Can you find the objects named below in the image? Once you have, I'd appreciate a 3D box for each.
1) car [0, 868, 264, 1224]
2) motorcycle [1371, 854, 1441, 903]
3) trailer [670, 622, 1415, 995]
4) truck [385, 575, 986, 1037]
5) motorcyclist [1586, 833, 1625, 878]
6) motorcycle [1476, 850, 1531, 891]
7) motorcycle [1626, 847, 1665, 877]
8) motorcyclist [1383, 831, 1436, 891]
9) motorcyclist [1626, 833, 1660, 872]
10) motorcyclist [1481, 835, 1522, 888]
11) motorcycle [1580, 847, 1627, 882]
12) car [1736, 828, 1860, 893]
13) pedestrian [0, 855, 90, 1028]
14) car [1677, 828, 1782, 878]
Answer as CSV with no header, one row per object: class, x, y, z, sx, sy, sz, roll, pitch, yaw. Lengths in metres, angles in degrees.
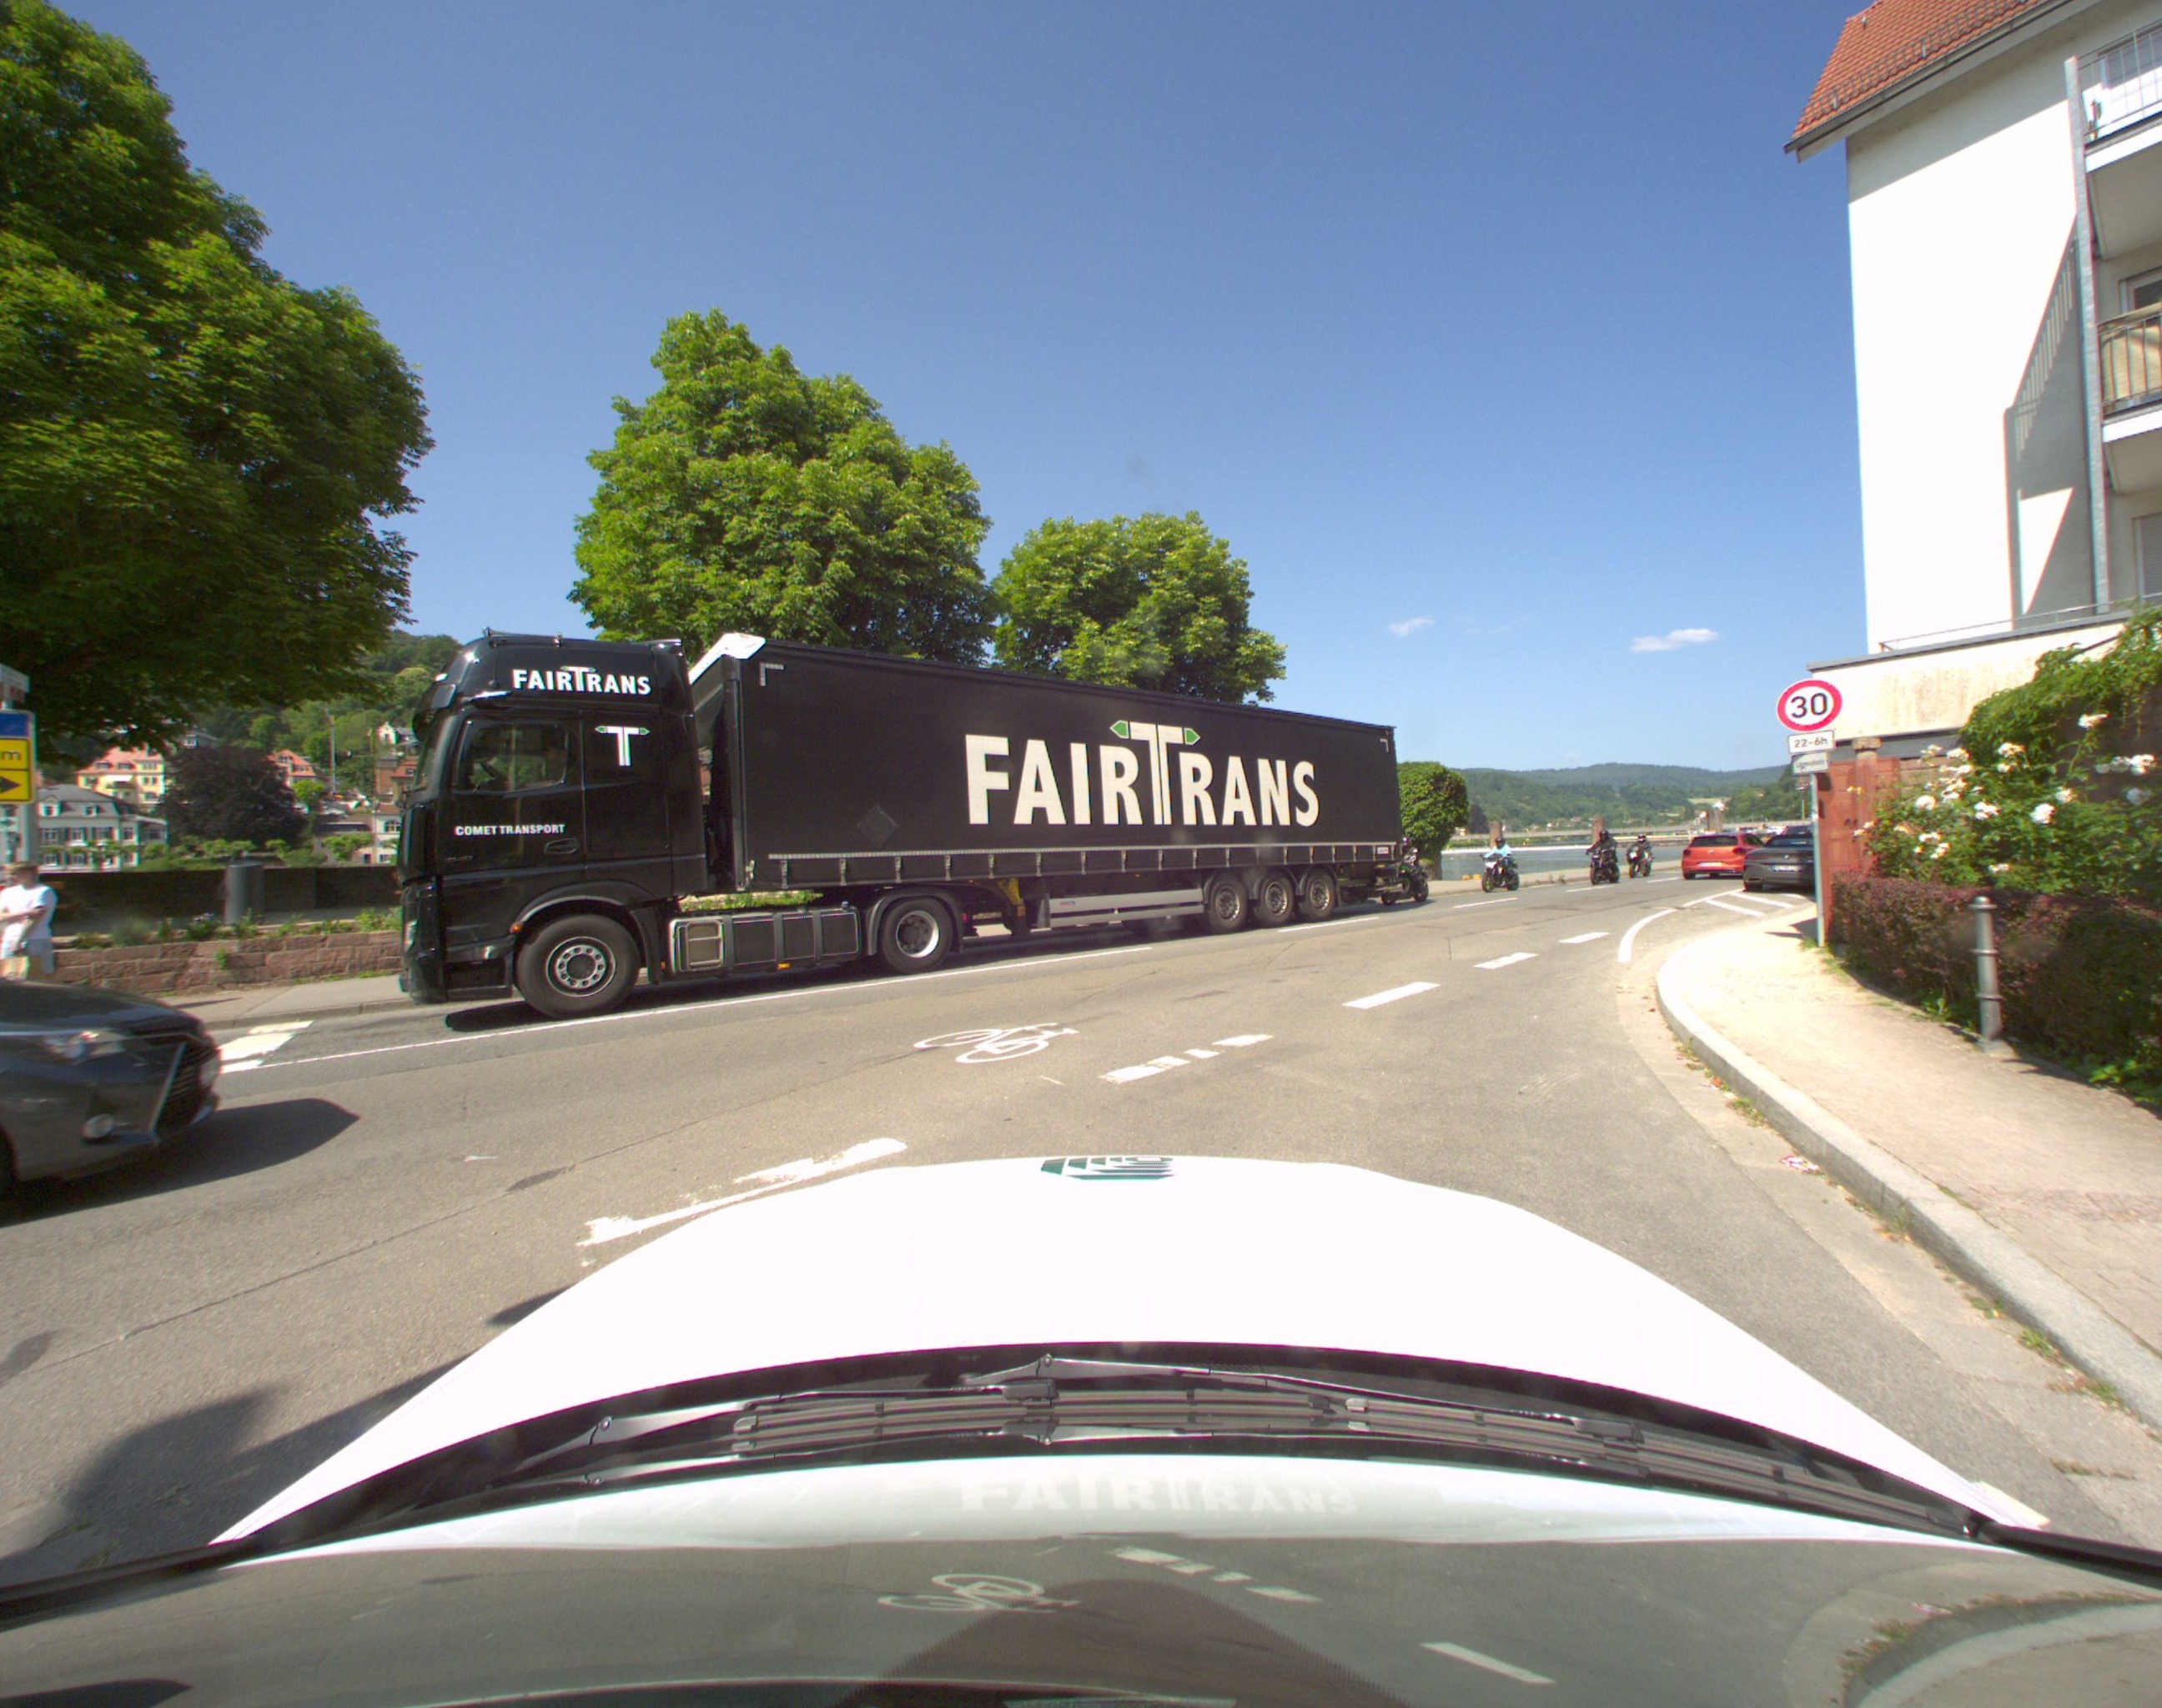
car,-6.222,0.892,3.309,3.900,1.498,1.707,-2,-1,-39
motorcycle,8.291,0.611,20.724,2.103,1.123,0.628,-2,-3,-39
trailer,0.746,-0.639,14.316,13.839,4.104,2.810,-2,-2,-38
truck,-4.570,-0.444,10.107,5.961,4.071,2.807,-2,-2,-38
motorcyclist,16.414,0.043,25.483,0.804,1.366,0.780,-2,-1,-39
motorcycle,12.733,0.493,24.521,2.103,1.123,0.628,-2,-3,-39
motorcycle,20.590,0.278,29.696,1.824,1.024,0.651,-2,-1,-39
motorcyclist,8.364,0.170,20.750,0.996,1.460,0.772,-2,-2,-39
motorcyclist,20.439,-0.069,29.622,0.941,1.366,0.711,-2,-1,-39
motorcyclist,12.627,0.211,24.453,0.996,1.525,0.658,-2,-2,-39
motorcycle,16.375,0.326,25.497,1.824,1.024,0.651,-2,-1,-39
car,17.032,0.100,19.296,3.759,1.399,1.673,-2,1,-40
pedestrian,-11.460,0.932,8.881,0.709,1.802,0.573,-2,-1,-40
car,20.444,-0.055,25.608,4.038,1.405,1.710,-2,0,-39
